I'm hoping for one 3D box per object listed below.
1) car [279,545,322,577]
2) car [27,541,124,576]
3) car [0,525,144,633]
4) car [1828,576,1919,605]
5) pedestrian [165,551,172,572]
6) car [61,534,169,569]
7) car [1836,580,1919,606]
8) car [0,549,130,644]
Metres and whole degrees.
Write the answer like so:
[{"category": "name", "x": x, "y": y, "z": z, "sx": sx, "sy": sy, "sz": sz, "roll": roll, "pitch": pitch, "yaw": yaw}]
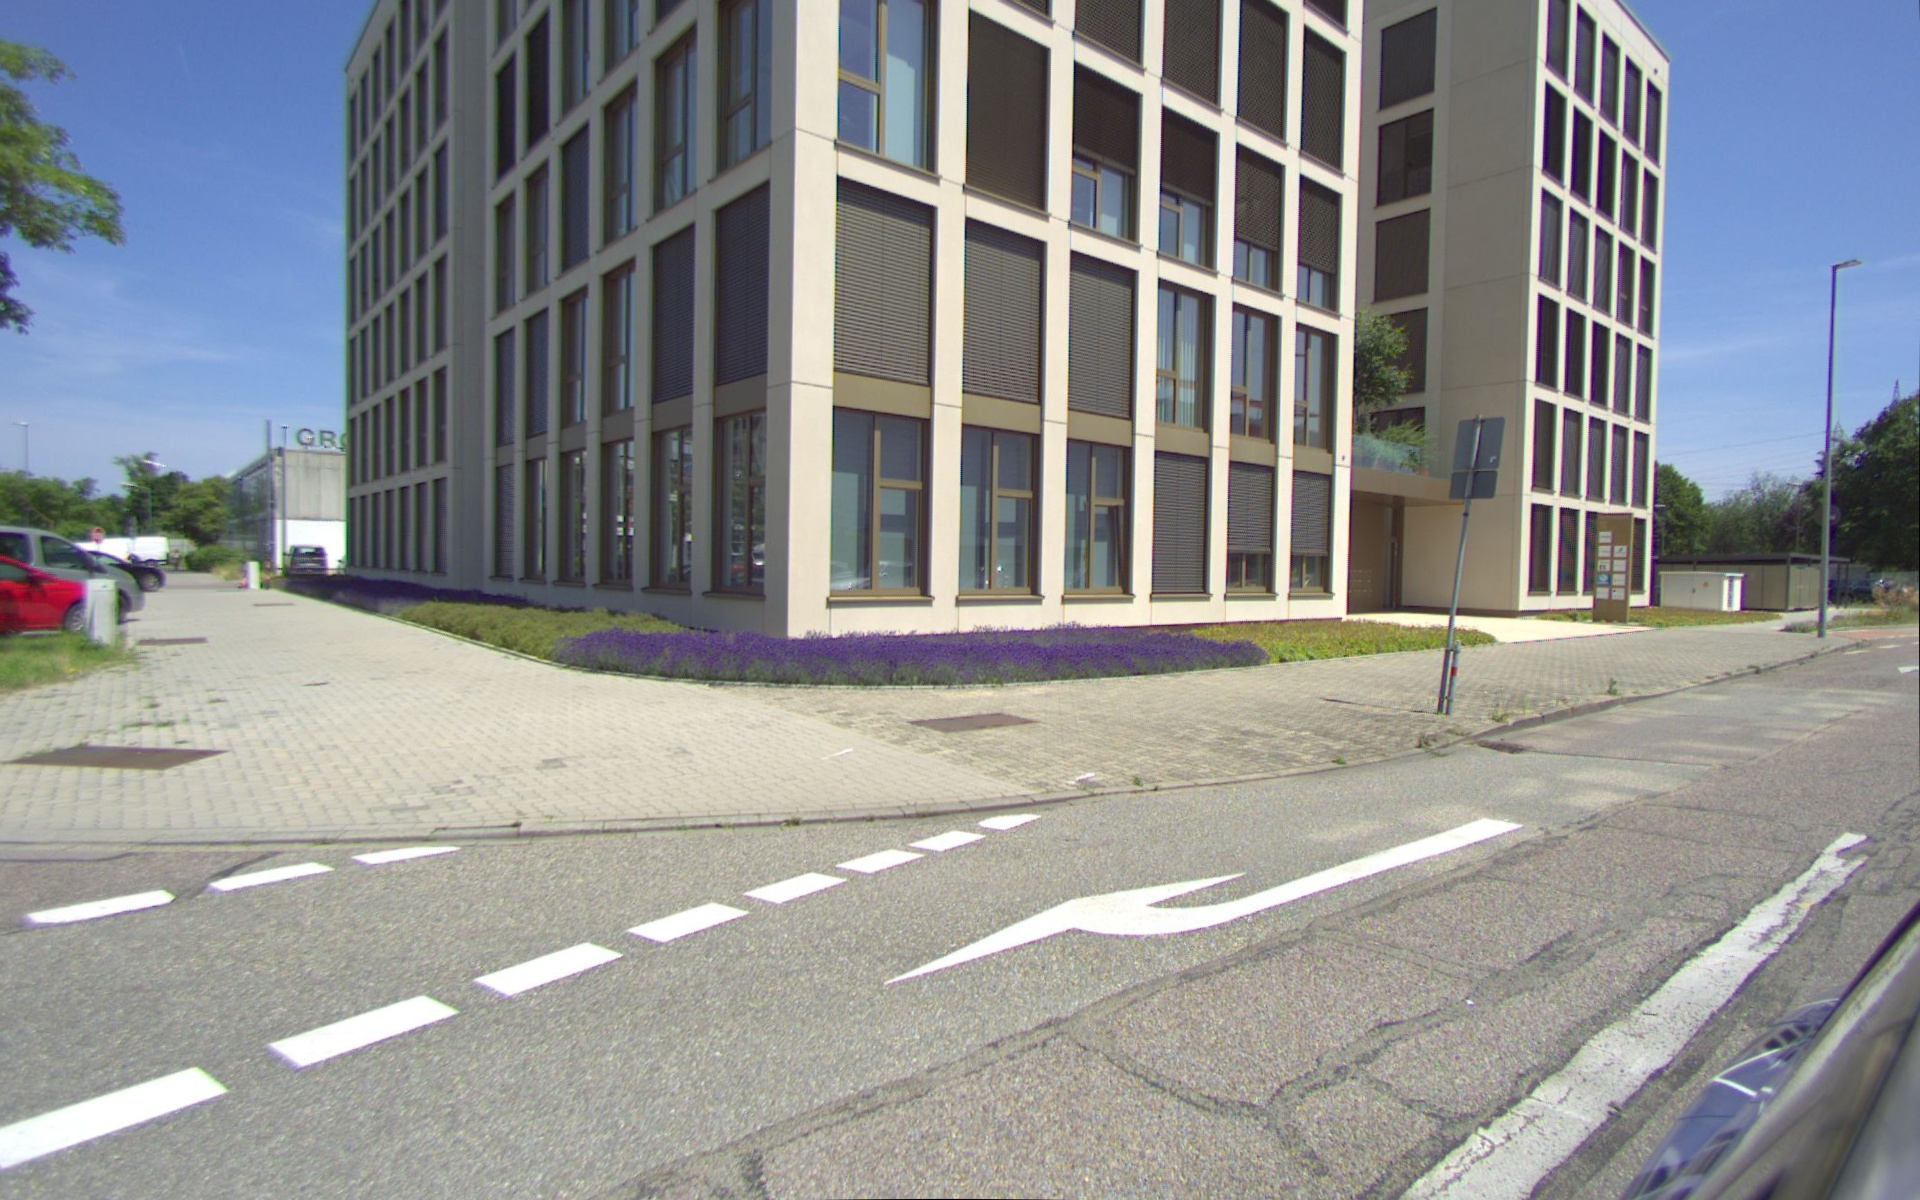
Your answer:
[{"category": "car", "x": -38.097, "y": -2.230, "z": 58.443, "sx": 1.763, "sy": 1.749, "sz": 3.997, "roll": 0, "pitch": 0, "yaw": -38}, {"category": "car", "x": -55.146, "y": -2.549, "z": 63.223, "sx": 4.495, "sy": 2.039, "sz": 1.997, "roll": -1, "pitch": 0, "yaw": -40}, {"category": "car", "x": -17.902, "y": -0.399, "z": 18.427, "sx": 1.886, "sy": 1.910, "sz": 4.927, "roll": 1, "pitch": 1, "yaw": 5}, {"category": "car", "x": 53.681, "y": -0.568, "z": 59.540, "sx": 3.810, "sy": 1.571, "sz": 1.716, "roll": 2, "pitch": 2, "yaw": 36}, {"category": "pedestrian", "x": -60.134, "y": -2.906, "z": 76.888, "sx": 0.397, "sy": 1.579, "sz": 0.549, "roll": 0, "pitch": 2, "yaw": -39}, {"category": "car", "x": -67.826, "y": -3.852, "z": 81.439, "sx": 6.573, "sy": 2.552, "sz": 2.217, "roll": -1, "pitch": 0, "yaw": -38}, {"category": "car", "x": 55.250, "y": -0.446, "z": 60.780, "sx": 3.810, "sy": 1.411, "sz": 1.716, "roll": 2, "pitch": 2, "yaw": 36}, {"category": "car", "x": -15.444, "y": -0.060, "z": 15.597, "sx": 1.672, "sy": 1.449, "sz": 3.990, "roll": 1, "pitch": 3, "yaw": 10}]
